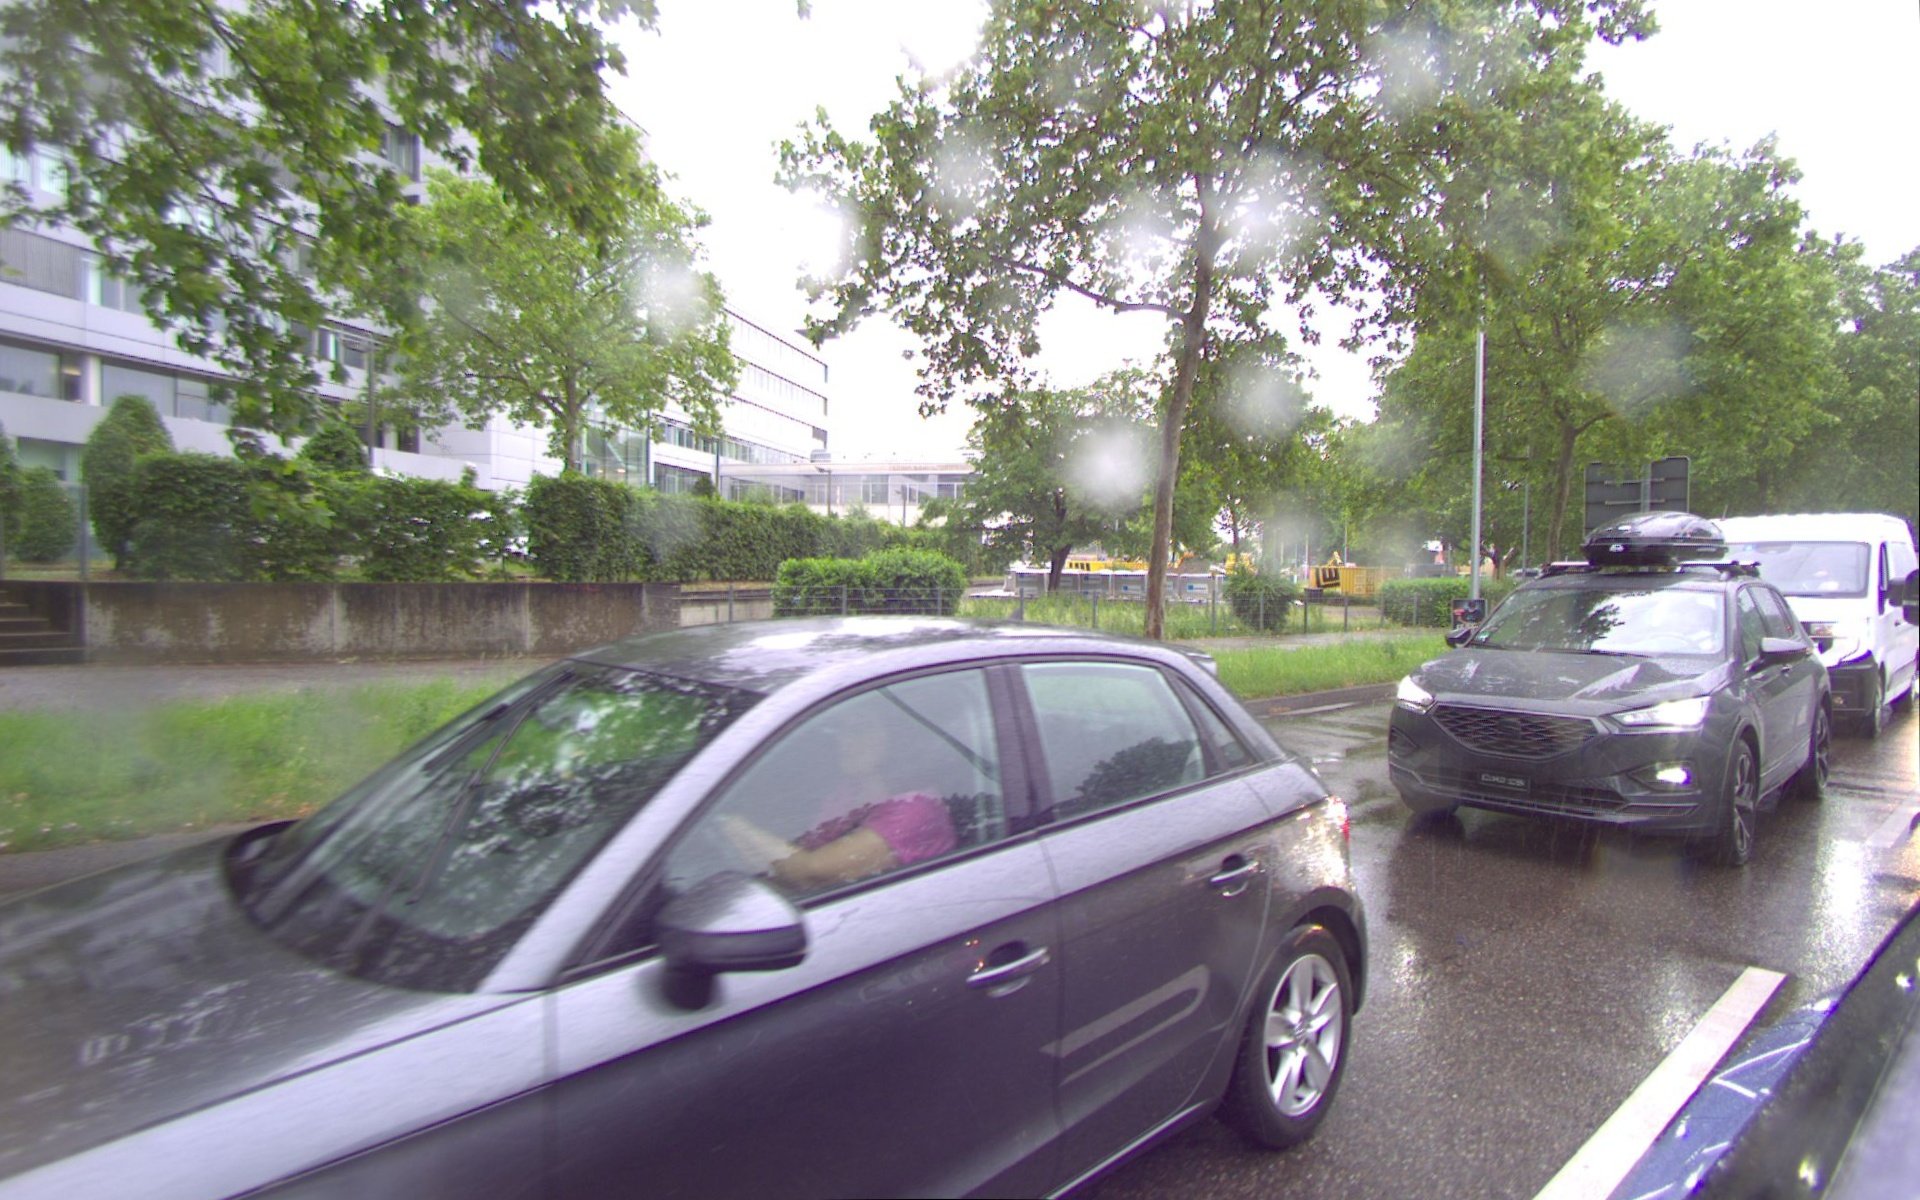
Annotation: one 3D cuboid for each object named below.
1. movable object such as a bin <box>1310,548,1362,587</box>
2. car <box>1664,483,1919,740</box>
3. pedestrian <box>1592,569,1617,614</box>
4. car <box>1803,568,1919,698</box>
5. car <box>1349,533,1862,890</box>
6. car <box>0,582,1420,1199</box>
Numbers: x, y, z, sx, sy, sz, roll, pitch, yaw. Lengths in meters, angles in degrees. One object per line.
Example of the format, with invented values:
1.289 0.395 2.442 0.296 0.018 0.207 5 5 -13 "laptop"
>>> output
34.745 -2.961 93.746 1.878 3.477 4.949 -1 1 -17 "movable object such as a bin"
10.355 0.069 12.250 5.227 2.476 1.892 0 1 -42 "car"
25.391 -0.326 39.861 0.645 1.738 0.645 -1 0 -40 "pedestrian"
15.587 0.463 16.832 4.470 1.937 1.805 0 1 -43 "car"
4.669 0.501 7.031 4.347 1.719 1.892 0 1 -42 "car"
-0.583 0.688 2.417 3.715 1.445 1.679 0 1 -41 "car"
